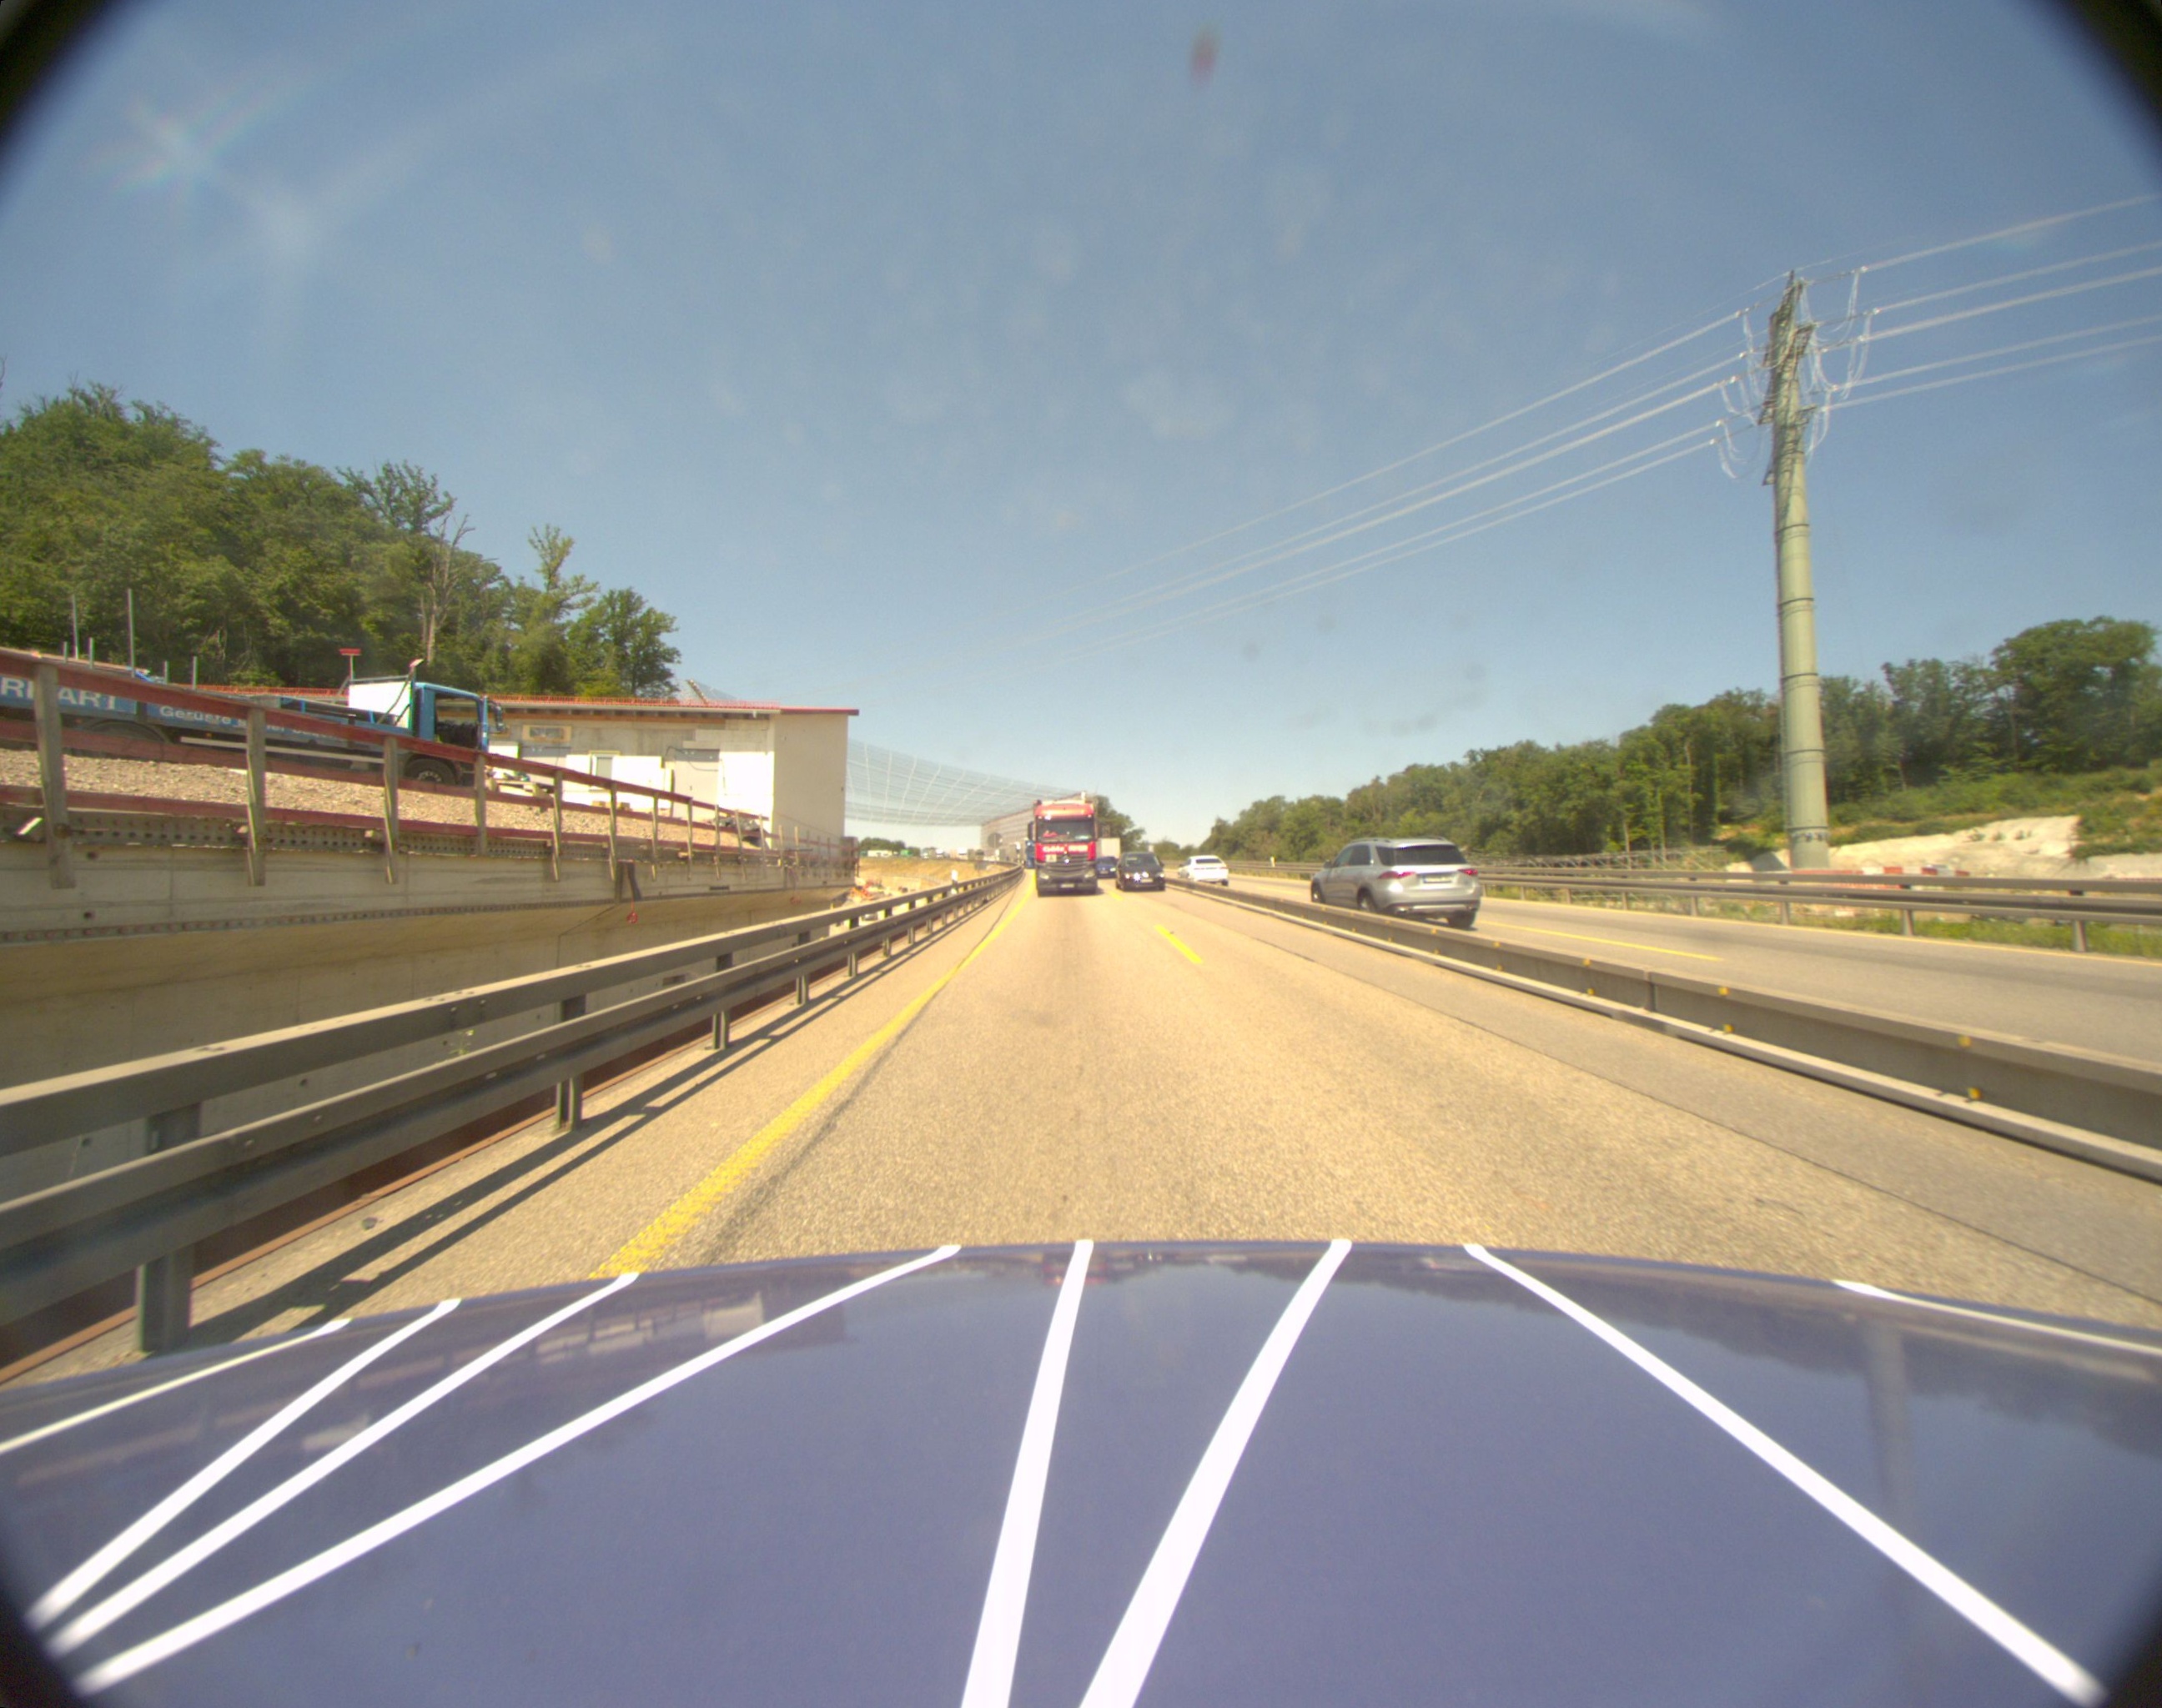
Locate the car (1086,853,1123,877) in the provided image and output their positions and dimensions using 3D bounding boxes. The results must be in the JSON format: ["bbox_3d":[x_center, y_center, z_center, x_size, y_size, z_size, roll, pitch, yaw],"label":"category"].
[{"bbox_3d":[1.601,0.748,52.840,1.897,1.546,4.784,-2,0,-6],"label":"car"}]

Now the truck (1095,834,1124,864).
[{"bbox_3d":[4.000,-0.770,110.374,2.808,3.977,10.545,-2,1,-5],"label":"truck"}]

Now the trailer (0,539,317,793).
[{"bbox_3d":[-19.350,-3.377,12.619,2.713,3.671,9.013,-1,-2,22],"label":"trailer"}]

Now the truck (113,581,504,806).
[{"bbox_3d":[-17.325,-3.262,17.593,2.713,3.671,5.722,-1,-2,22],"label":"truck"}]

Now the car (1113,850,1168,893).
[{"bbox_3d":[2.576,0.736,33.961,1.861,1.695,5.303,-2,0,-1],"label":"car"}]

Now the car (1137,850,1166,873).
[{"bbox_3d":[5.284,0.540,57.247,1.743,1.632,4.000,-2,0,0],"label":"car"}]

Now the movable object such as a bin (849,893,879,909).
[{"bbox_3d":[-40.313,8.690,141.009,5.485,2.621,2.224,-1,1,35],"label":"movable object such as a bin"}]

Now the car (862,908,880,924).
[{"bbox_3d":[-31.377,9.242,113.468,2.000,2.002,3.996,-2,1,-9],"label":"car"}]

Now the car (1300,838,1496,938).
[{"bbox_3d":[6.270,0.597,15.746,1.917,1.695,4.735,-2,0,-2],"label":"car"}]

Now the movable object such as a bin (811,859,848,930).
[{"bbox_3d":[-27.381,4.267,83.062,2.936,7.311,6.232,-2,1,-12],"label":"movable object such as a bin"}]

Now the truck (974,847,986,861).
[{"bbox_3d":[-30.132,-0.125,226.593,3.043,4.033,8.667,-2,1,-8],"label":"truck"}]

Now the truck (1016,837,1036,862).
[{"bbox_3d":[-9.696,-0.804,134.144,2.911,4.207,9.234,-2,1,-7],"label":"truck"}]

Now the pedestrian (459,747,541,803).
[{"bbox_3d":[-13.007,-1.750,17.044,1.022,1.144,0.994,-2,1,5],"label":"pedestrian"}]

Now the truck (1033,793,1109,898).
[{"bbox_3d":[-0.607,-0.410,34.579,2.799,3.986,10.425,-2,1,-2],"label":"truck"}]

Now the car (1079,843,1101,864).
[{"bbox_3d":[1.173,-0.157,102.129,1.976,2.664,6.655,-1,1,-7],"label":"car"}]

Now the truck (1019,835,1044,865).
[{"bbox_3d":[-7.024,-0.566,106.397,2.673,3.986,10.421,-2,1,-8],"label":"truck"}]

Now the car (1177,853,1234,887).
[{"bbox_3d":[5.958,0.711,36.846,1.917,1.478,4.476,-2,0,-2],"label":"car"}]
